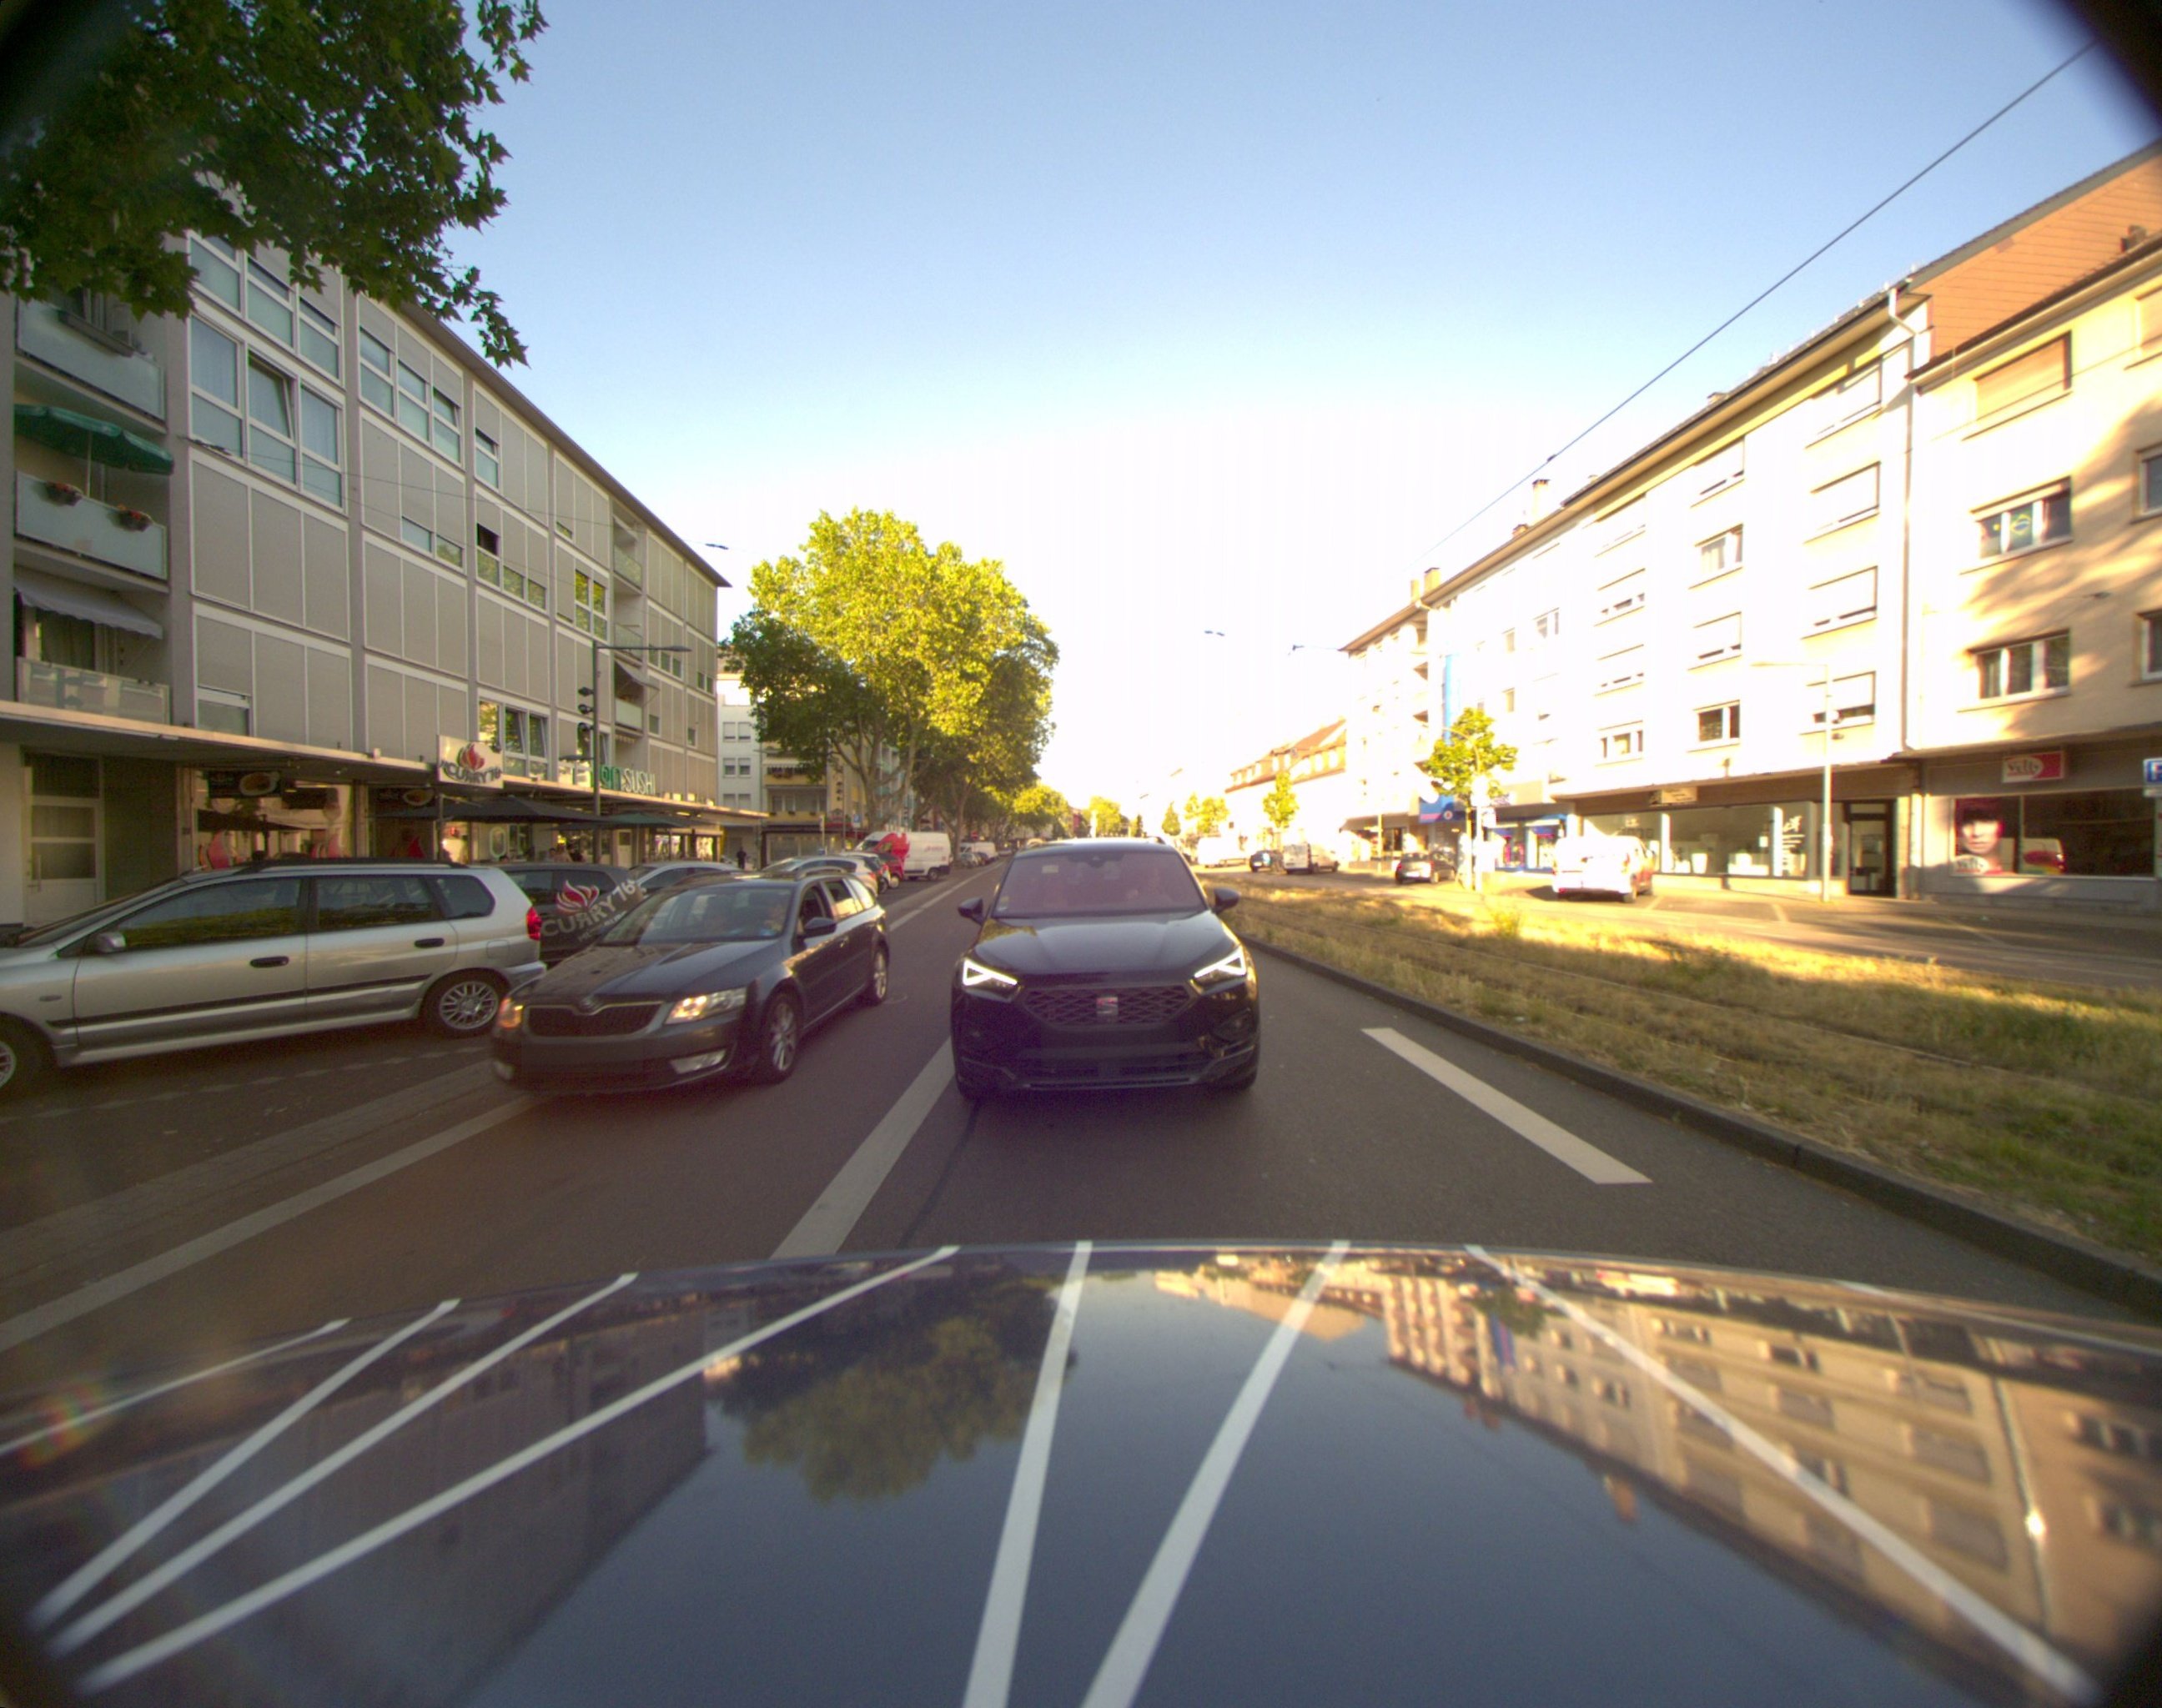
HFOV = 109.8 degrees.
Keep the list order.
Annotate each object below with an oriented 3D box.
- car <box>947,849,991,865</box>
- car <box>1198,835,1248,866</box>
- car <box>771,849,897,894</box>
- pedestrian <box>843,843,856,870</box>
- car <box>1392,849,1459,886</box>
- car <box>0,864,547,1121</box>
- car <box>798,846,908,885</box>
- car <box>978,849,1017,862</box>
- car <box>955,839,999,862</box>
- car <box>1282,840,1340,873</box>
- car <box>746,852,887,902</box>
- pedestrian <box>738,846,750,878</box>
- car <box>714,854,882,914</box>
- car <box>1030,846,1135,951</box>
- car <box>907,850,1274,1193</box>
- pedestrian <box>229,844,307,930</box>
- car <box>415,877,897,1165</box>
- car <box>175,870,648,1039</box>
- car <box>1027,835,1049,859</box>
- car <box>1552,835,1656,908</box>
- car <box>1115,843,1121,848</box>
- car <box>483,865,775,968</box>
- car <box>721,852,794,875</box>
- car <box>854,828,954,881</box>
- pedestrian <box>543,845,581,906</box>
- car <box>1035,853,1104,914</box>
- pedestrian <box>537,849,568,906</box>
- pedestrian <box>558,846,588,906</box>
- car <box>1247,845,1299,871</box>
[{"bbox_3d":[-10.764,0.275,73.000,1.778,1.396,3.943,1,1,44],"label":"car"},{"bbox_3d":[12.861,-0.360,68.522,1.922,2.599,6.601,-1,1,34],"label":"car"},{"bbox_3d":[-8.848,0.637,27.290,3.948,1.421,1.672,2,2,-32],"label":"car"},{"bbox_3d":[-16.824,0.187,55.314,0.748,2.002,0.764,0,1,-4],"label":"pedestrian"},{"bbox_3d":[15.447,0.572,33.995,1.731,1.489,4.008,-1,1,40],"label":"car"},{"bbox_3d":[-6.873,0.900,6.011,1.672,1.533,3.992,0,1,38],"label":"car"},{"bbox_3d":[-9.175,0.461,30.574,3.948,1.421,1.672,2,2,-29],"label":"car"},{"bbox_3d":[-9.077,0.162,82.562,1.778,1.326,3.943,1,1,44],"label":"car"},{"bbox_3d":[-11.599,-0.418,85.050,1.973,2.454,4.605,1,1,44],"label":"car"},{"bbox_3d":[14.542,0.109,47.824,1.853,1.927,4.513,-1,1,40],"label":"car"},{"bbox_3d":[-8.405,0.719,24.233,3.949,1.420,1.672,1,1,-34],"label":"car"},{"bbox_3d":[-18.642,0.439,42.031,0.481,1.720,0.347,-1,1,-38],"label":"pedestrian"},{"bbox_3d":[-7.545,0.773,20.508,3.950,1.420,1.555,1,1,-45],"label":"car"},{"bbox_3d":[0.010,0.706,14.317,1.646,1.646,3.999,-2,1,-1],"label":"car"},{"bbox_3d":[0.076,0.837,5.823,1.785,1.639,3.999,-2,1,1],"label":"car"},{"bbox_3d":[-15.131,0.597,14.157,0.583,1.573,0.771,0,1,2],"label":"pedestrian"},{"bbox_3d":[-2.966,1.032,6.518,1.729,1.443,4.227,-2,1,-1],"label":"car"},{"bbox_3d":[-7.589,0.961,8.984,1.672,1.420,3.950,2,1,38],"label":"car"},{"bbox_3d":[-5.696,-0.935,102.364,2.660,2.989,7.131,-2,1,-2],"label":"car"},{"bbox_3d":[15.582,0.450,22.563,1.853,1.888,4.007,-1,2,44],"label":"car"},{"bbox_3d":[10.840,-2.579,224.422,1.845,1.571,4.451,0,1,3],"label":"car"},{"bbox_3d":[-7.478,0.918,12.868,1.592,1.393,3.950,2,1,41],"label":"car"},{"bbox_3d":[-21.358,0.598,50.325,4.000,1.412,1.998,0,1,-8],"label":"car"},{"bbox_3d":[-8.752,0.052,37.798,4.606,2.479,1.672,0,-1,-44],"label":"car"},{"bbox_3d":[-13.511,0.552,19.787,0.561,1.567,0.642,0,1,-5],"label":"pedestrian"},{"bbox_3d":[-0.308,0.766,21.575,1.729,1.467,3.999,-2,1,-1],"label":"car"},{"bbox_3d":[-15.215,0.669,21.896,0.537,1.630,0.478,0,1,-4],"label":"pedestrian"},{"bbox_3d":[-14.662,0.631,21.943,0.545,1.710,0.457,0,1,-4],"label":"pedestrian"},{"bbox_3d":[13.795,0.241,54.517,3.922,1.704,1.853,-2,1,-45],"label":"car"}]
